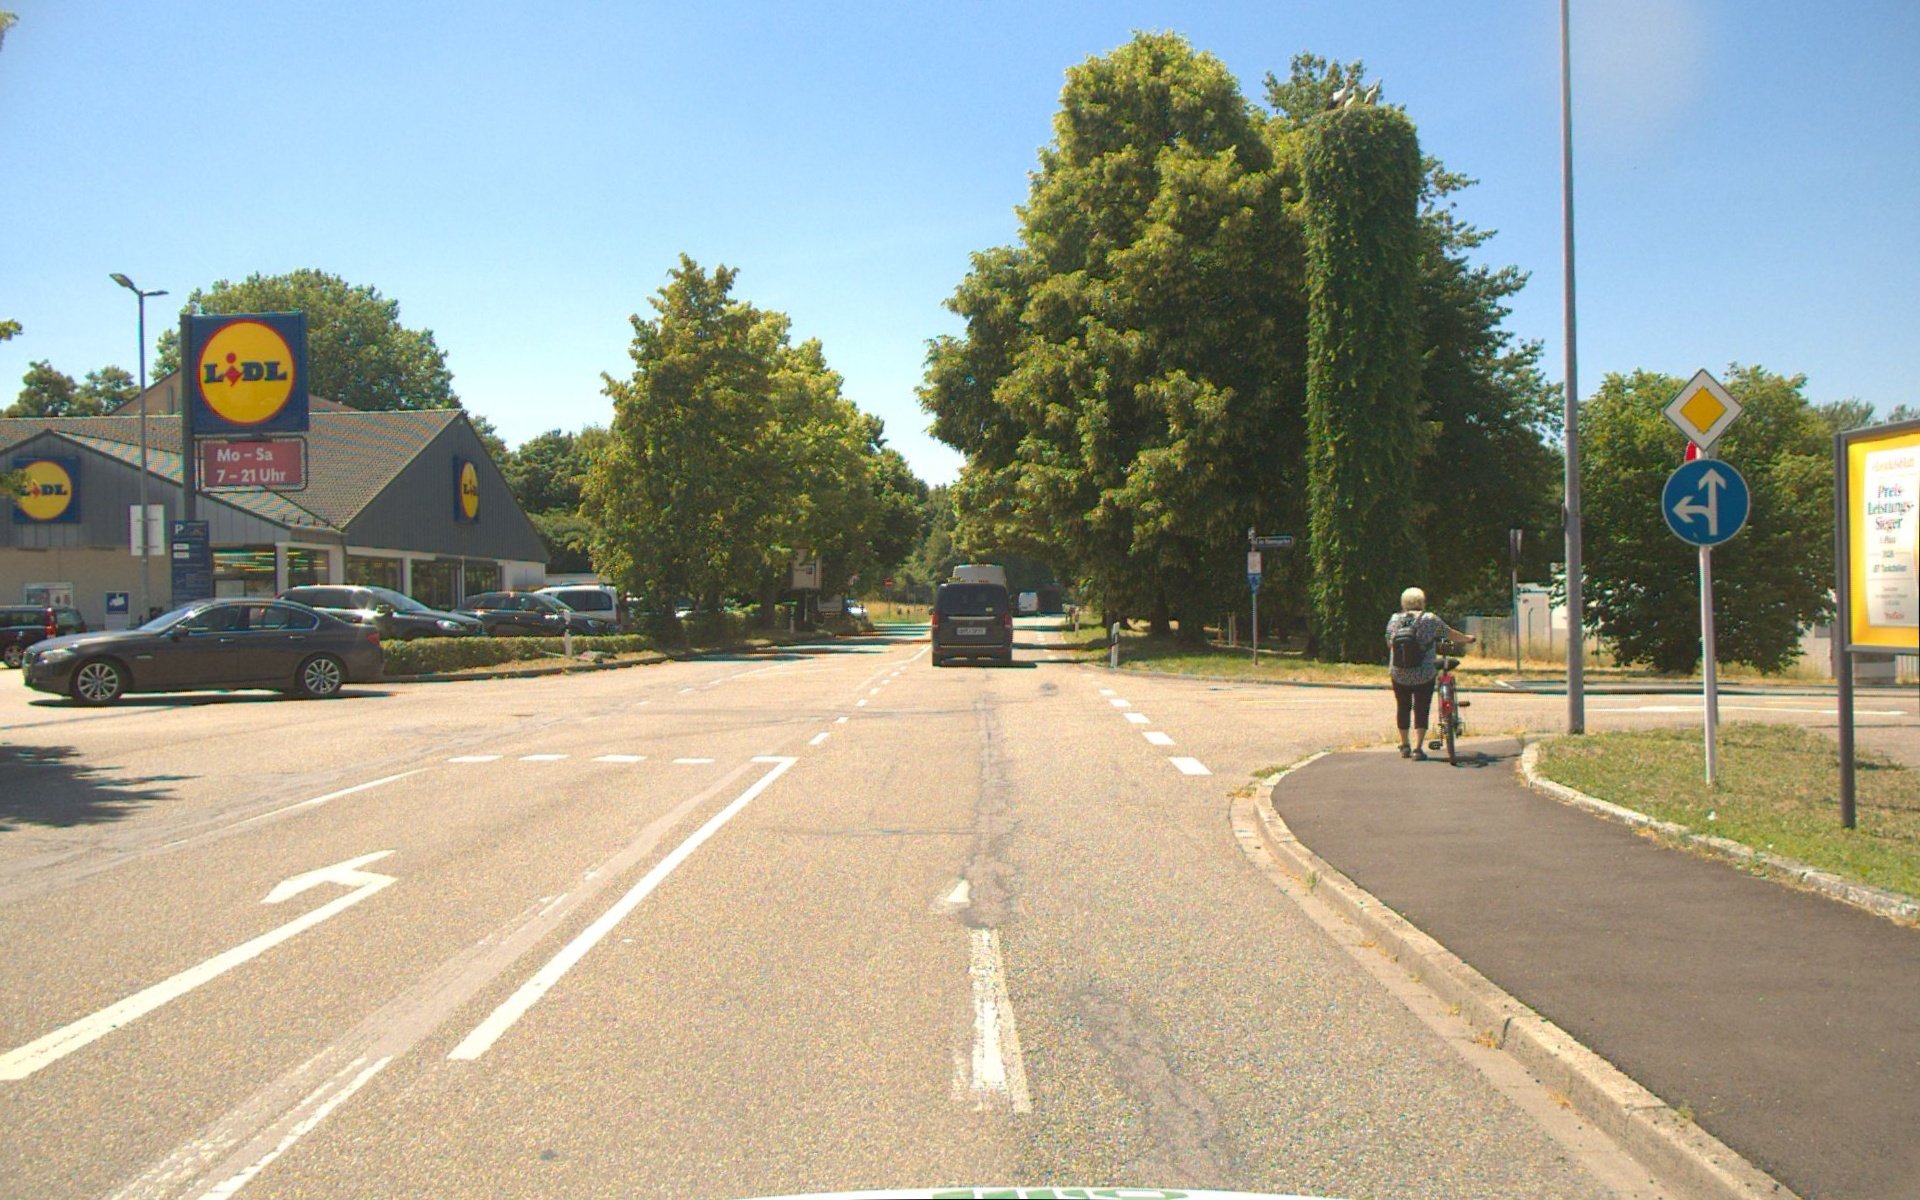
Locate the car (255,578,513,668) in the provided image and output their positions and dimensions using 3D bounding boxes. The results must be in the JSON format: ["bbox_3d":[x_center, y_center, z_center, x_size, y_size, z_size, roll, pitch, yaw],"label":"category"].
[{"bbox_3d":[-11.932,0.475,34.443,4.608,1.793,2.100,0,-1,6],"label":"car"}]

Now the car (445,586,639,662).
[{"bbox_3d":[-10.548,0.606,41.949,4.292,1.877,2.105,0,-1,7],"label":"car"}]

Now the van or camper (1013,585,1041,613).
[{"bbox_3d":[7.314,-0.130,180.724,2.579,2.980,5.204,0,0,-2],"label":"van or camper"}]

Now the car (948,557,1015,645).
[{"bbox_3d":[0.676,0.035,55.053,2.036,2.750,4.665,1,0,-1],"label":"car"}]

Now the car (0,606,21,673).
[{"bbox_3d":[-24.306,0.911,38.129,4.225,1.557,1.827,0,-1,-3],"label":"car"}]

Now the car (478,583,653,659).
[{"bbox_3d":[-10.591,0.558,44.667,4.267,2.015,1.904,0,-1,-1],"label":"car"}]

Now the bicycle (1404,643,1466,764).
[{"bbox_3d":[4.038,0.855,14.107,0.370,0.928,1.599,0,0,11],"label":"bicycle"}]

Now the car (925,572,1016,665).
[{"bbox_3d":[0.322,0.407,38.730,1.952,1.987,5.006,1,0,2],"label":"car"}]

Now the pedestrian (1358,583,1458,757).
[{"bbox_3d":[3.846,0.582,14.262,0.752,1.446,0.868,0,0,10],"label":"pedestrian"}]

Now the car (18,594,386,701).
[{"bbox_3d":[-11.054,0.655,24.264,4.638,1.425,1.913,0,-1,-37],"label":"car"}]

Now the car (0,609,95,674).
[{"bbox_3d":[-23.736,0.994,40.382,4.225,1.557,1.827,0,-1,-3],"label":"car"}]

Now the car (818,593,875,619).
[{"bbox_3d":[-7.394,0.372,107.356,2.070,1.616,4.435,1,0,-27],"label":"car"}]
